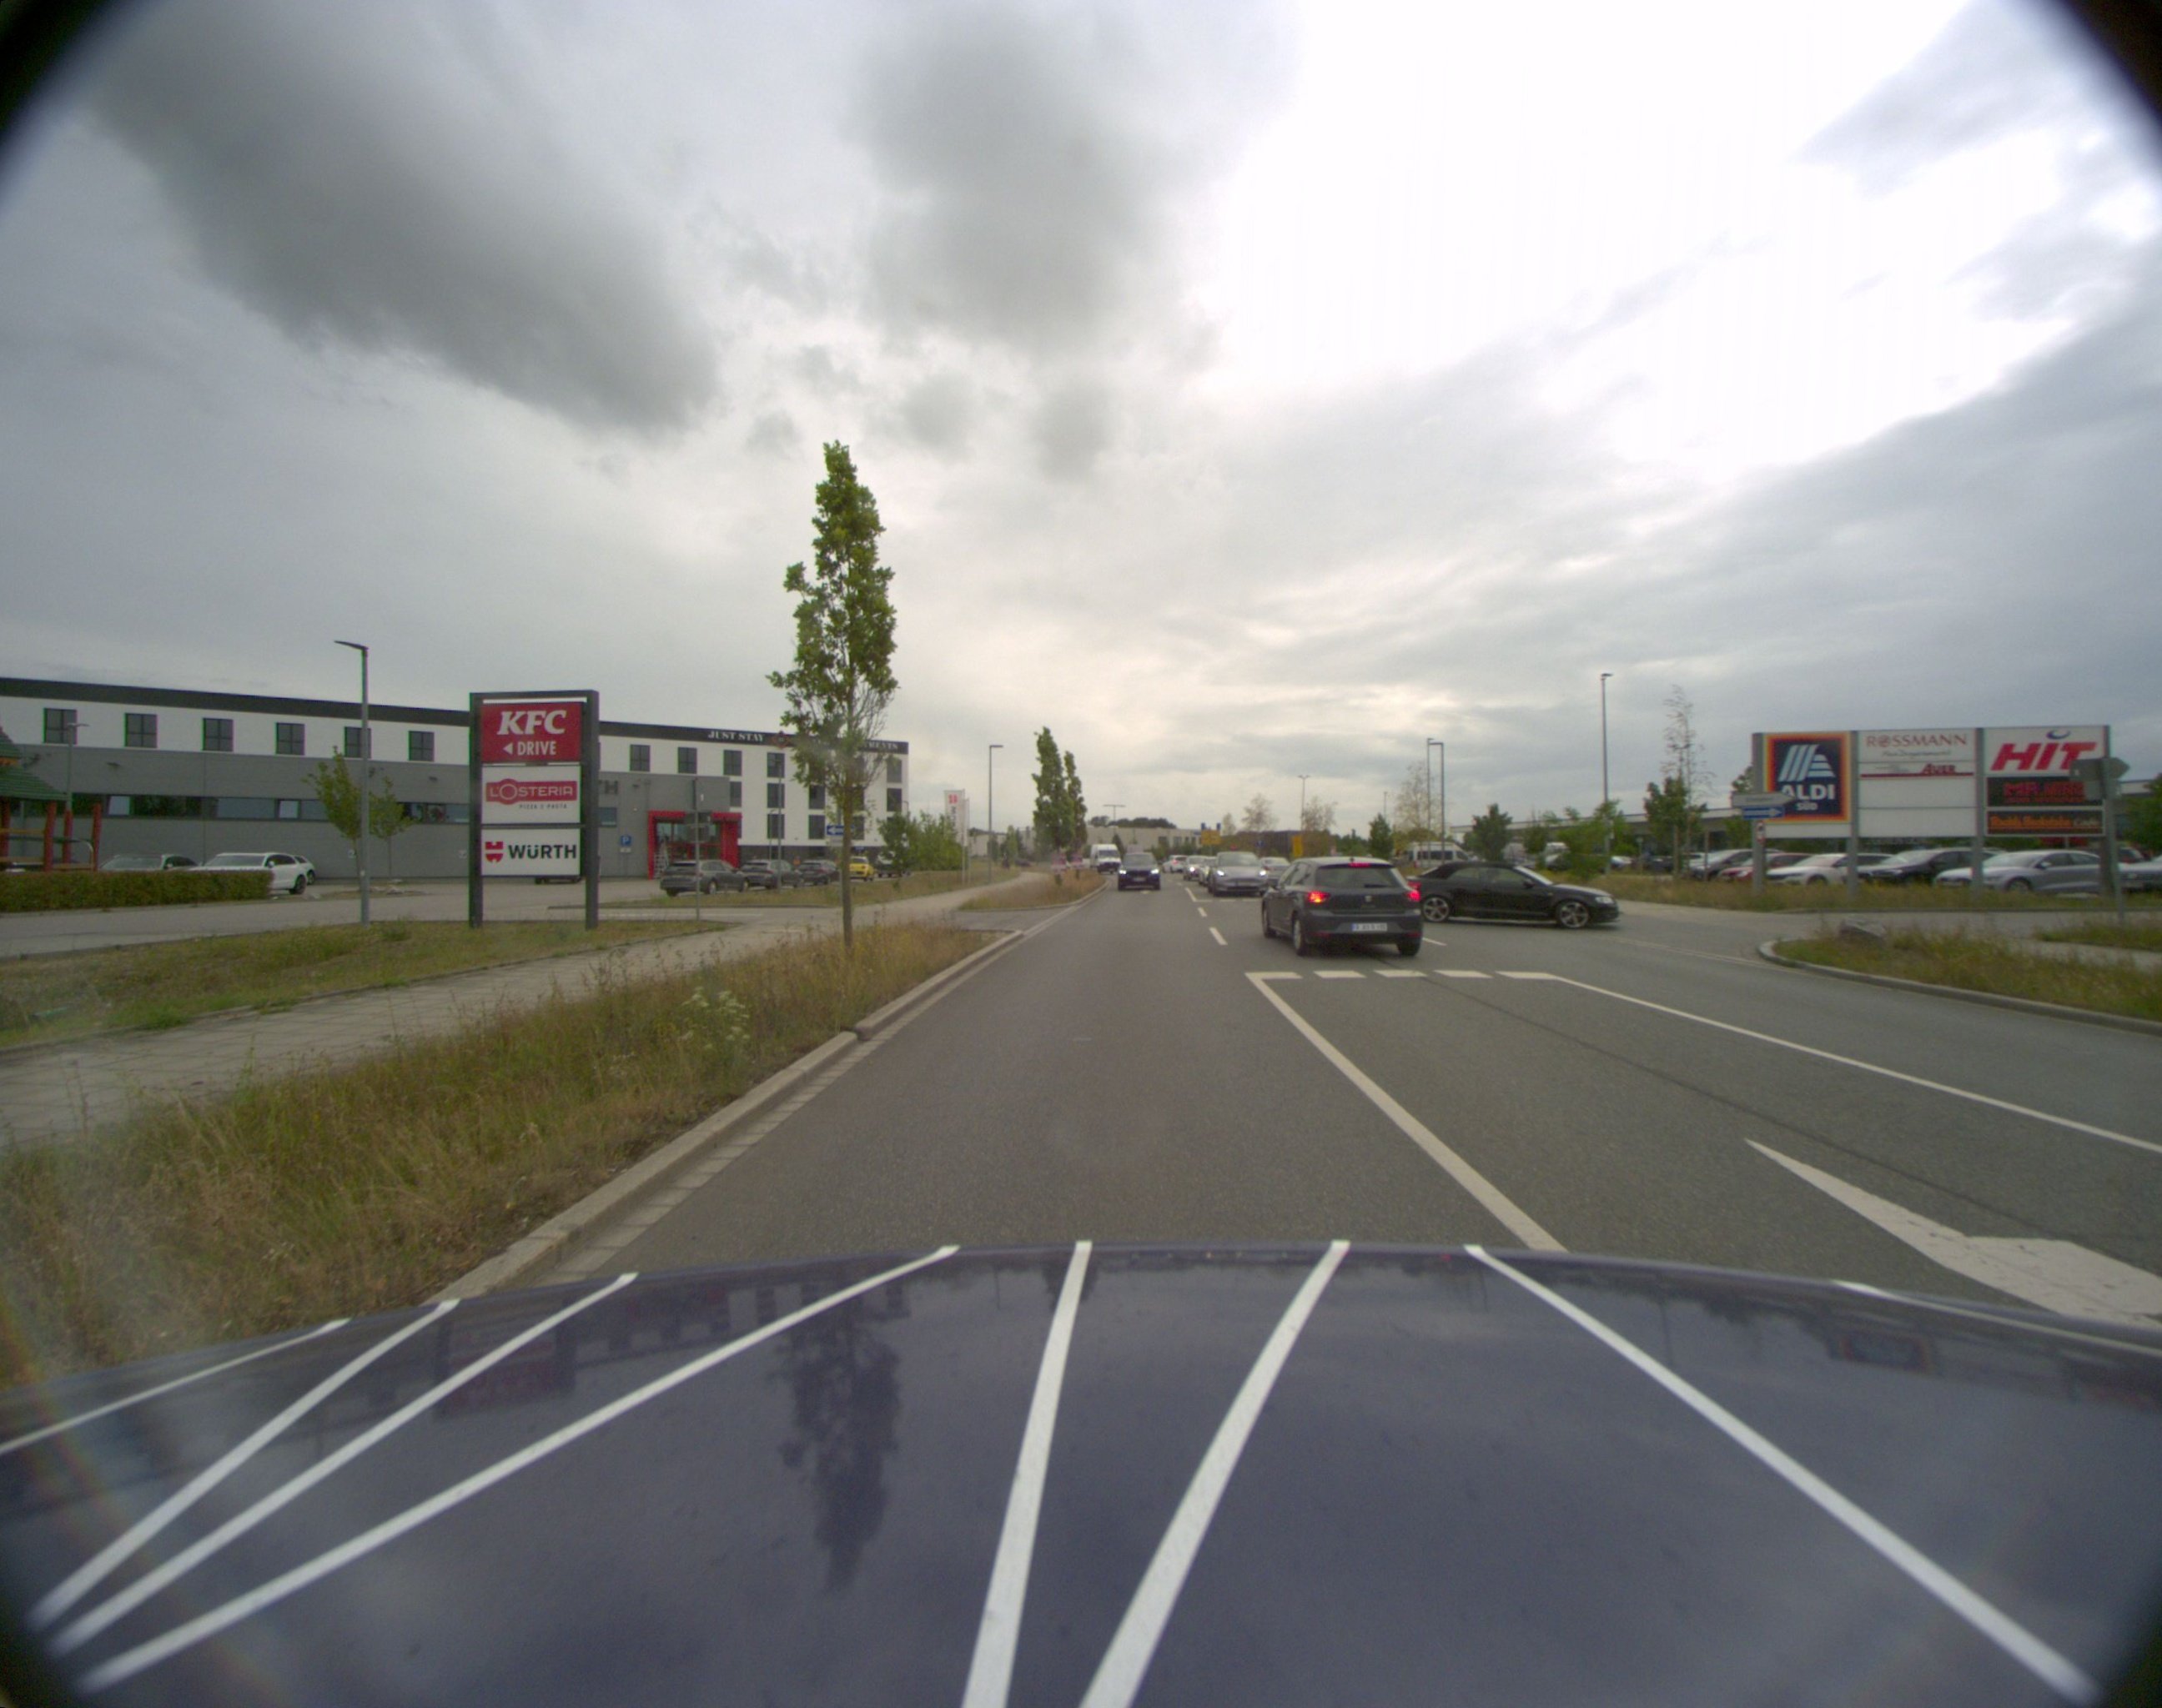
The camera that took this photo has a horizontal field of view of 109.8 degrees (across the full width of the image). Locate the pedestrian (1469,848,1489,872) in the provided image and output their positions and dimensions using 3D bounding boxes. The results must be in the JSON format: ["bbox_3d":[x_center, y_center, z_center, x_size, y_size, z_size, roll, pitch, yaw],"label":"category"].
[{"bbox_3d":[31.444,0.471,60.101,1.010,1.879,1.114,0,0,2],"label":"pedestrian"}]

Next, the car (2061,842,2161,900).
[{"bbox_3d":[28.057,0.401,18.844,4.366,1.383,2.166,0,0,6],"label":"car"}]

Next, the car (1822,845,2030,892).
[{"bbox_3d":[28.486,0.490,25.775,4.374,1.496,2.241,0,0,5],"label":"car"}]

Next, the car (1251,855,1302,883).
[{"bbox_3d":[10.498,0.764,41.103,1.840,1.409,4.501,1,0,4],"label":"car"}]

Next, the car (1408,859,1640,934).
[{"bbox_3d":[9.666,0.852,16.815,4.219,1.429,1.778,0,1,32],"label":"car"}]

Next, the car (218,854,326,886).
[{"bbox_3d":[-40.399,0.752,38.111,2.084,1.510,4.567,1,0,-24],"label":"car"}]

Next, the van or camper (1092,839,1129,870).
[{"bbox_3d":[2.516,0.077,66.318,2.265,2.601,5.693,0,0,-7],"label":"van or camper"}]

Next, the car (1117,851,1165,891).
[{"bbox_3d":[2.666,0.736,34.271,1.998,1.654,4.001,-1,0,3],"label":"car"}]

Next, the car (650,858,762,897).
[{"bbox_3d":[-15.243,0.904,31.239,1.966,1.451,4.833,0,0,3],"label":"car"}]

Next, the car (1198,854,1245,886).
[{"bbox_3d":[6.867,0.736,37.560,1.884,1.460,4.194,0,0,5],"label":"car"}]

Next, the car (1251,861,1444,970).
[{"bbox_3d":[4.053,0.844,12.323,1.833,1.412,4.246,-1,0,3],"label":"car"}]

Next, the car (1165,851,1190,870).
[{"bbox_3d":[8.829,0.585,69.616,1.998,1.627,4.704,2,0,4],"label":"car"}]

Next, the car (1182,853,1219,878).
[{"bbox_3d":[7.155,0.691,45.924,1.706,1.429,4.033,0,0,2],"label":"car"}]

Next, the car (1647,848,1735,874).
[{"bbox_3d":[45.632,0.524,57.000,2.160,1.888,4.920,0,0,-12],"label":"car"}]

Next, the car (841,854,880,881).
[{"bbox_3d":[-14.352,0.880,49.625,1.768,1.676,4.409,0,0,-7],"label":"car"}]

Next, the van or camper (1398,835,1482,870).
[{"bbox_3d":[29.185,-0.135,61.848,5.869,2.784,2.242,0,1,-5],"label":"van or camper"}]

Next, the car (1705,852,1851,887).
[{"bbox_3d":[28.870,0.626,31.579,4.093,1.383,2.001,0,0,6],"label":"car"}]

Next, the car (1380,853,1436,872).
[{"bbox_3d":[28.606,0.778,66.556,3.954,1.624,2.084,0,0,-3],"label":"car"}]

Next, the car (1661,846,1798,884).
[{"bbox_3d":[29.013,0.468,34.127,4.310,1.645,2.081,0,0,3],"label":"car"}]

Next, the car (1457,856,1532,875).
[{"bbox_3d":[29.940,0.814,55.128,4.335,1.297,2.011,0,0,-1],"label":"car"}]

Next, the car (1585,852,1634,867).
[{"bbox_3d":[54.761,0.569,78.816,2.000,1.433,3.997,0,0,-10],"label":"car"}]

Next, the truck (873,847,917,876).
[{"bbox_3d":[-16.102,0.643,66.335,2.233,2.312,8.212,0,0,-3],"label":"truck"}]

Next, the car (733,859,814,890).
[{"bbox_3d":[-14.794,0.947,36.878,1.868,1.428,4.880,0,0,1],"label":"car"}]

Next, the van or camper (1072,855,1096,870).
[{"bbox_3d":[0.319,1.162,104.576,1.954,1.996,5.121,1,0,-16],"label":"van or camper"}]

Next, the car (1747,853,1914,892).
[{"bbox_3d":[28.587,0.689,29.112,4.328,1.448,2.011,0,0,3],"label":"car"}]

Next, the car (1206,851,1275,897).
[{"bbox_3d":[5.832,0.703,28.329,1.998,1.552,4.615,0,0,5],"label":"car"}]

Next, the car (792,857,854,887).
[{"bbox_3d":[-14.579,0.978,43.173,1.999,1.488,4.607,0,1,-1],"label":"car"}]

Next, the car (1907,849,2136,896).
[{"bbox_3d":[28.121,0.552,22.844,4.323,1.332,2.027,0,0,1],"label":"car"}]

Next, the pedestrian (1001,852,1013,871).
[{"bbox_3d":[-7.686,0.777,79.200,1.075,1.847,1.193,0,2,-12],"label":"pedestrian"}]

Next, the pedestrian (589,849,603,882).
[{"bbox_3d":[-28.048,0.648,43.966,0.615,1.857,0.800,-1,0,-31],"label":"pedestrian"}]

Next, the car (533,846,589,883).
[{"bbox_3d":[-29.211,0.586,42.823,2.003,1.975,4.626,0,0,-27],"label":"car"}]

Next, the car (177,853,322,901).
[{"bbox_3d":[-31.629,0.810,29.118,2.003,1.687,4.783,0,0,-24],"label":"car"}]
